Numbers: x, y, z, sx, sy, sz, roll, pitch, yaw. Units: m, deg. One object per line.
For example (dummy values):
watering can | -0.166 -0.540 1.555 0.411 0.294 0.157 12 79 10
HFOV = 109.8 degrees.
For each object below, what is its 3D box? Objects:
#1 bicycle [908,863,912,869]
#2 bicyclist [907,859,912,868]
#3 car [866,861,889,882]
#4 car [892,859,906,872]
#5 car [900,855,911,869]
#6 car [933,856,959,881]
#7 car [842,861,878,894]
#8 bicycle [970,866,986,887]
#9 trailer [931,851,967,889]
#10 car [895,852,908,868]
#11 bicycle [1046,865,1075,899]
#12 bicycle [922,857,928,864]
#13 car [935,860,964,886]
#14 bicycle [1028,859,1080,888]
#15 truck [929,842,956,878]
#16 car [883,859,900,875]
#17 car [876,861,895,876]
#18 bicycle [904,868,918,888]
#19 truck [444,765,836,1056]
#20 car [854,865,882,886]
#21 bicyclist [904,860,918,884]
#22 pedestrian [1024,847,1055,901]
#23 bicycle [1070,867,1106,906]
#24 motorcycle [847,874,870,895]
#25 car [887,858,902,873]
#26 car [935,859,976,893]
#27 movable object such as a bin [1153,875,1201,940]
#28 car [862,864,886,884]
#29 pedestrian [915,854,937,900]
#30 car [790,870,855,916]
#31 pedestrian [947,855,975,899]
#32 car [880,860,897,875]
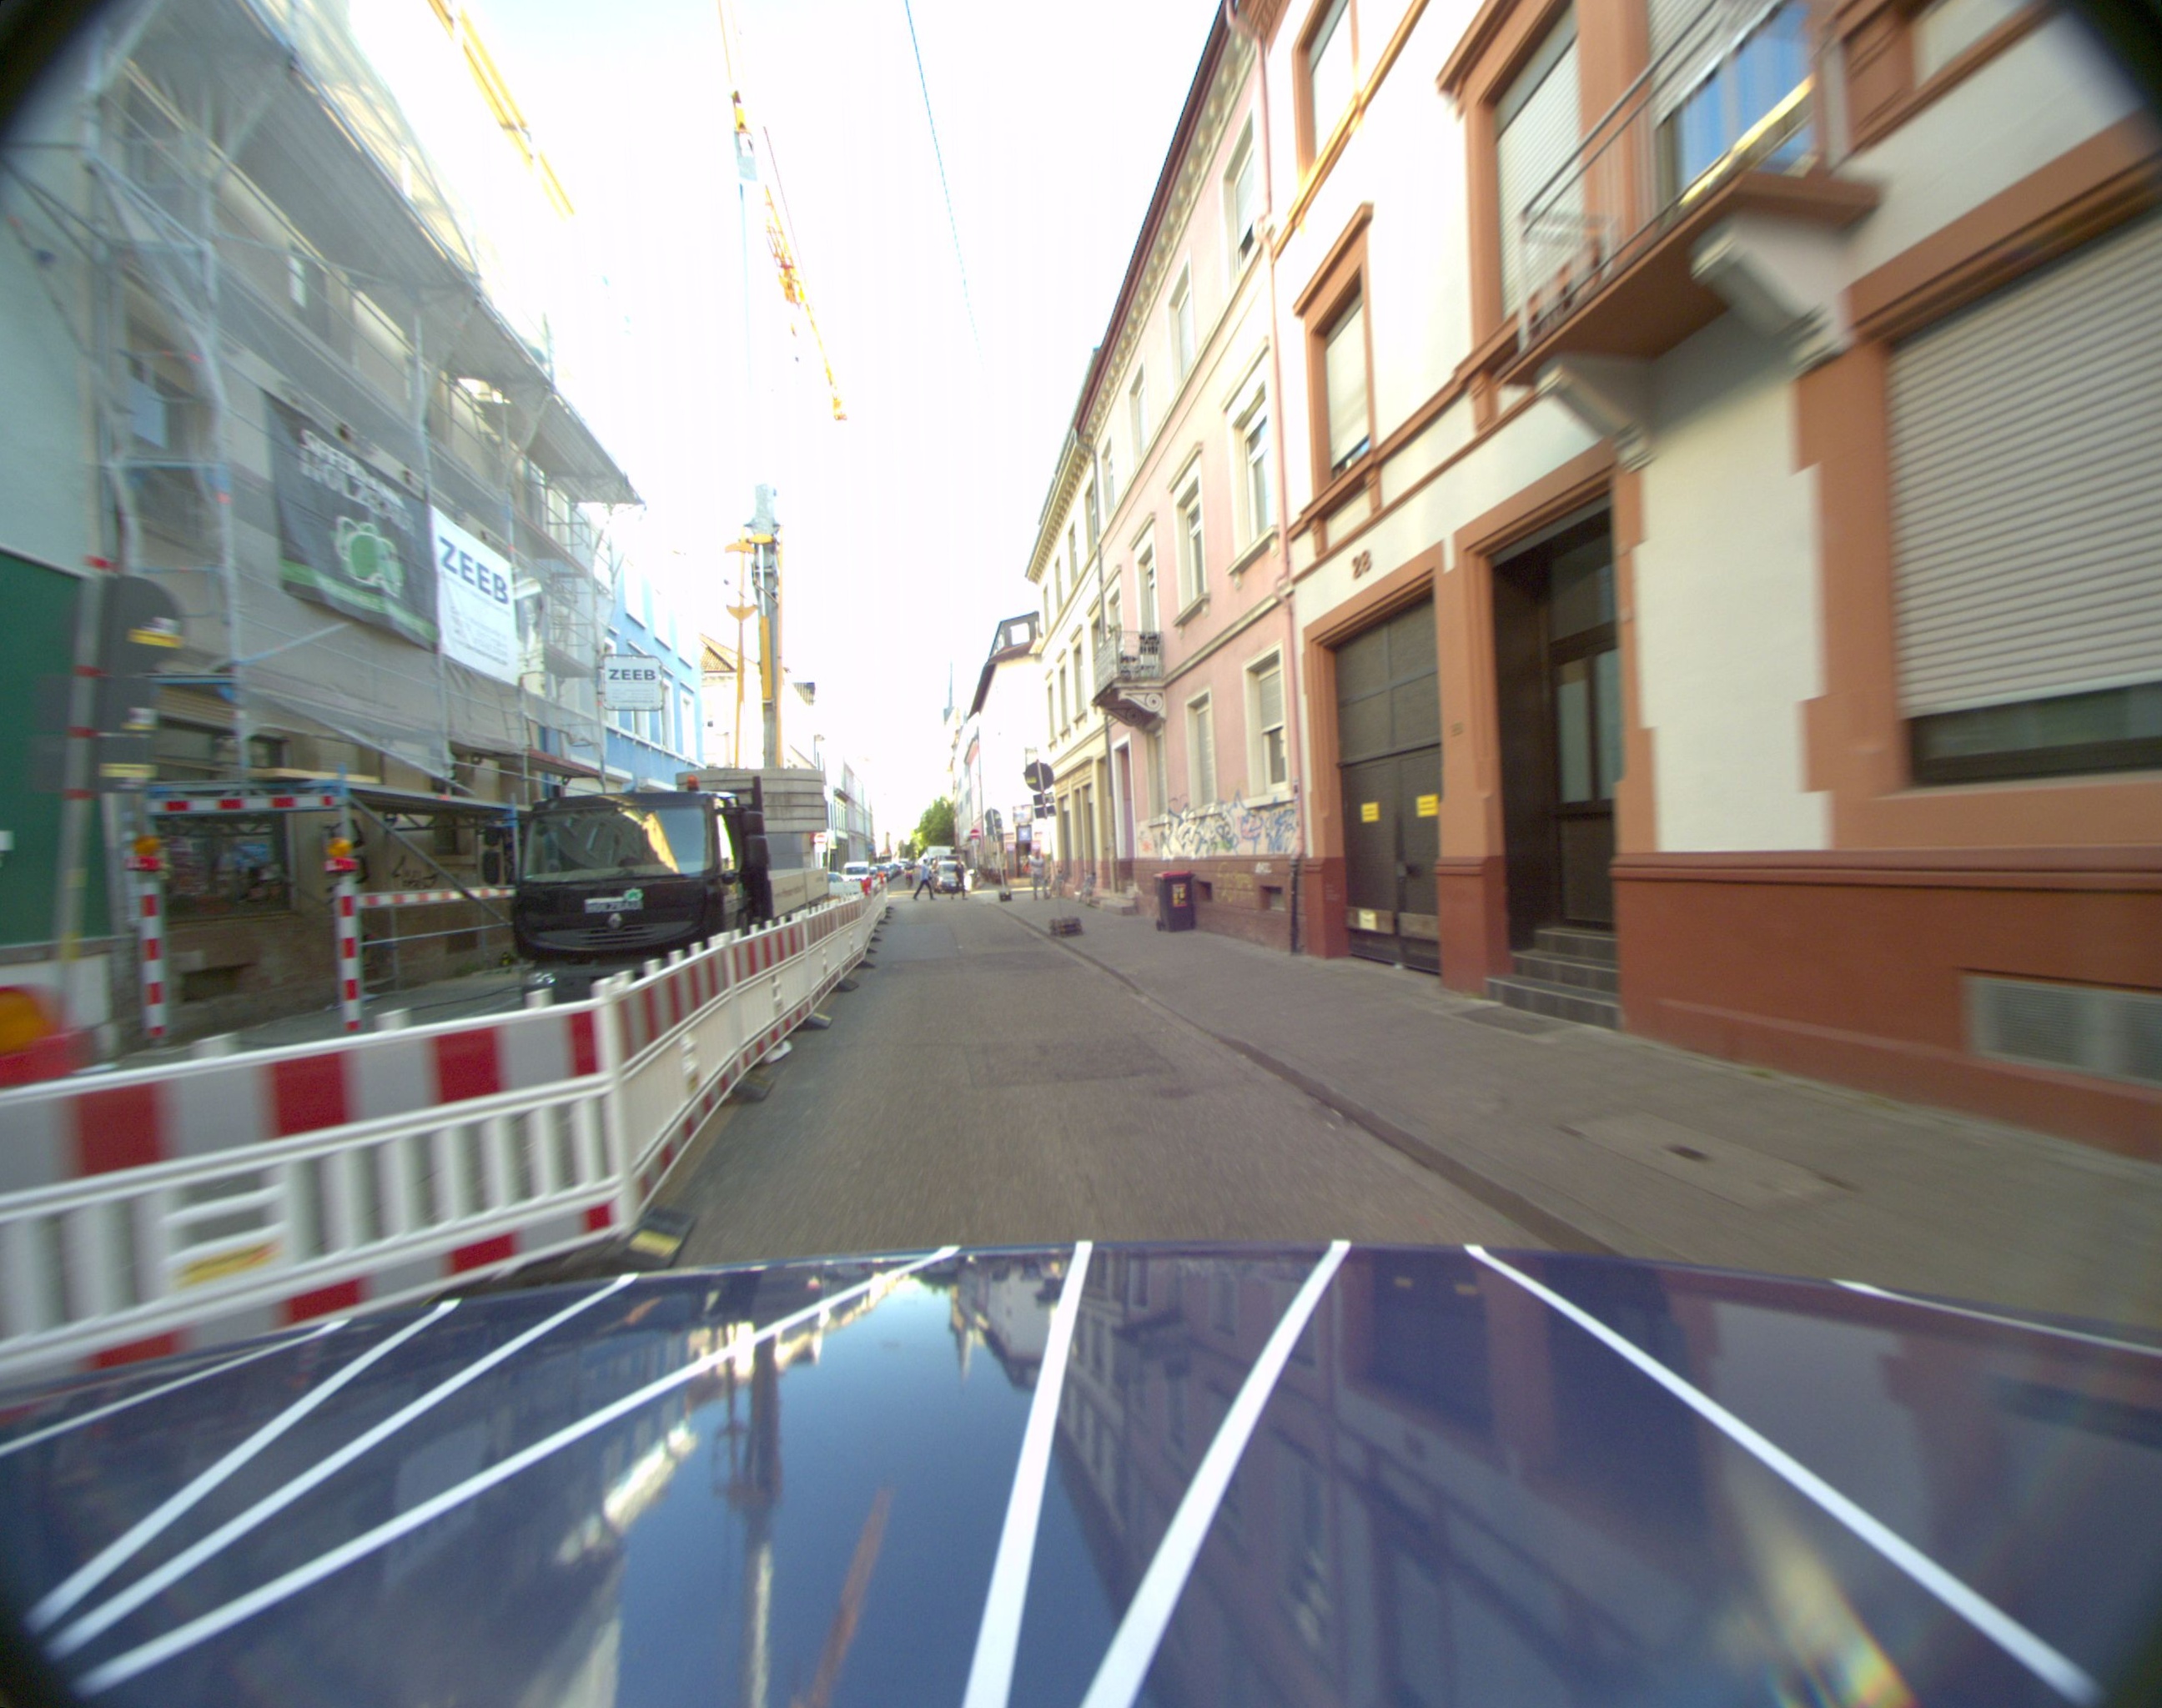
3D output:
bicycle | -33.239 2.297 147.535 0.729 1.173 2.486 -4 1 -14
bicyclist | -33.271 1.839 147.554 0.716 1.650 0.876 -4 1 -14
car | -18.452 1.534 69.035 1.715 1.721 4.403 -1 0 -12
car | -28.988 1.799 120.938 2.001 2.002 4.558 -4 1 -15
car | -37.740 1.702 163.630 2.001 2.777 4.558 -4 1 -15
car | -10.463 1.082 58.830 1.808 1.834 4.239 -2 1 -12
car | -13.343 1.363 46.082 1.754 1.806 4.365 -2 1 -12
bicycle | -5.818 1.244 42.725 0.578 1.132 1.459 -4 1 -17
trailer | -7.635 0.883 43.788 1.668 2.049 4.358 -2 1 -14
car | -32.640 1.036 138.114 2.001 2.777 4.558 -4 1 -15
bicycle | -0.742 0.959 26.372 0.605 1.017 1.816 -7 2 -11
bicycle | -37.585 1.510 183.279 1.020 1.641 3.543 -4 1 -16
car | -8.457 1.177 48.794 1.682 1.545 3.814 -1 1 -12
bicycle | -1.385 0.983 38.673 2.484 1.351 0.927 -3 1 -11
truck | -13.301 0.513 72.864 2.298 3.165 7.037 -2 1 -10
car | -21.958 1.519 88.252 1.715 1.721 4.216 -1 1 -12
car | -19.705 1.474 76.591 1.614 1.387 3.877 -1 0 -12
bicycle | -10.362 1.464 46.370 0.710 1.105 1.933 -3 0 -9
truck | -5.665 0.535 11.507 2.670 2.798 7.385 -4 1 -11
car | -15.840 1.557 56.725 1.738 1.387 3.877 -1 0 -12
bicyclist | -10.369 1.113 46.322 0.710 1.427 0.789 -3 1 -10
pedestrian | -1.401 0.683 25.409 0.696 1.691 0.864 -8 0 -11
bicycle | 0.182 0.923 21.866 0.624 1.016 1.816 -4 1 -11
motorcycle | -12.447 1.700 42.554 0.720 1.080 1.996 1 1 -1
car | -24.496 1.476 100.034 1.715 1.802 4.216 -2 1 -12
car | -6.458 1.092 38.852 1.728 1.596 4.162 -2 0 -13
movable object such as a bin | 1.659 0.917 13.211 0.607 1.029 0.595 -4 1 -13
car | -16.927 1.582 62.282 1.622 1.495 3.768 -1 0 -12
pedestrian | -6.466 0.958 31.691 0.772 1.839 0.779 -4 2 -12
car | -9.750 1.419 28.904 1.778 1.426 4.029 -4 1 -12
pedestrian | -5.027 0.935 31.823 0.830 1.782 0.987 -1 1 -33
car | -20.995 1.472 83.004 1.614 1.444 3.877 -1 0 -12
